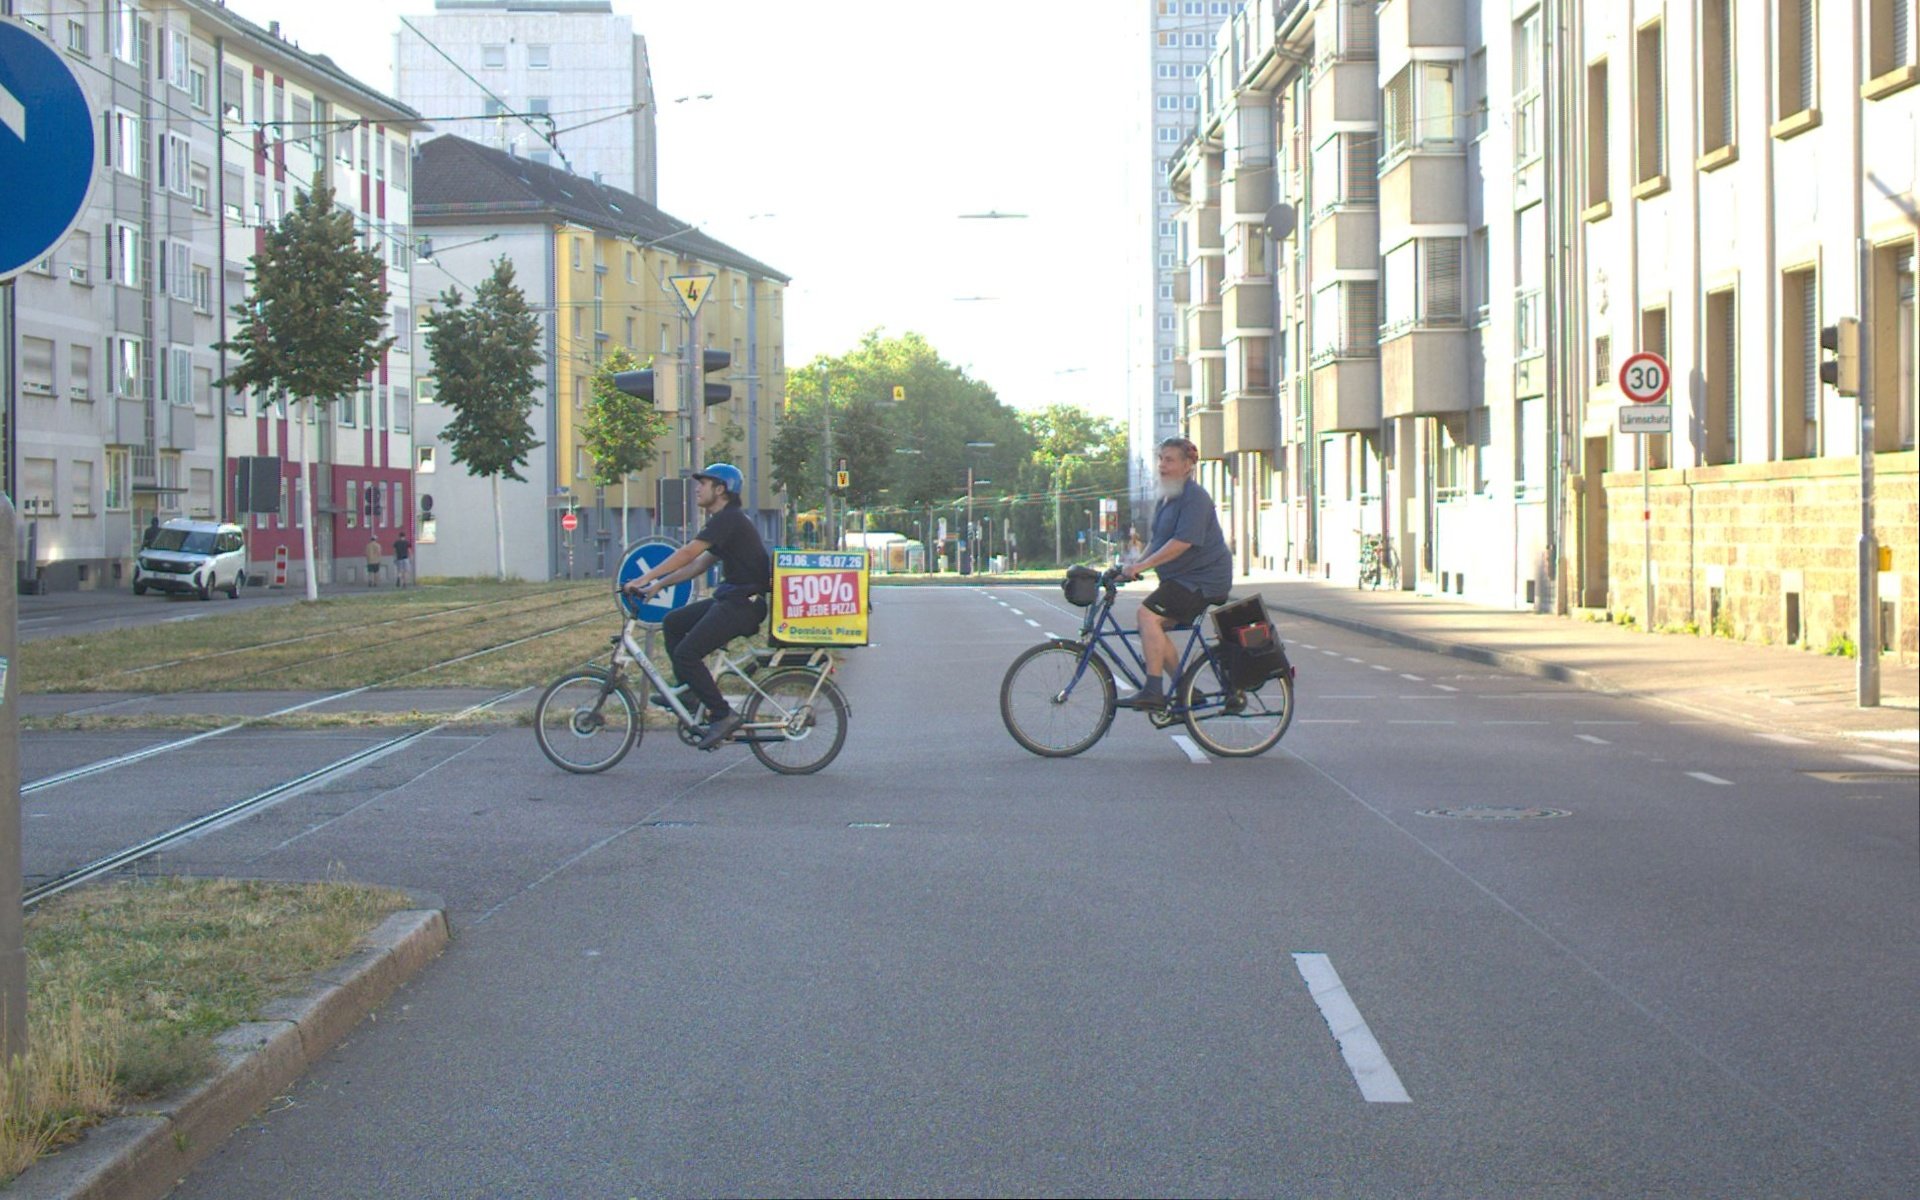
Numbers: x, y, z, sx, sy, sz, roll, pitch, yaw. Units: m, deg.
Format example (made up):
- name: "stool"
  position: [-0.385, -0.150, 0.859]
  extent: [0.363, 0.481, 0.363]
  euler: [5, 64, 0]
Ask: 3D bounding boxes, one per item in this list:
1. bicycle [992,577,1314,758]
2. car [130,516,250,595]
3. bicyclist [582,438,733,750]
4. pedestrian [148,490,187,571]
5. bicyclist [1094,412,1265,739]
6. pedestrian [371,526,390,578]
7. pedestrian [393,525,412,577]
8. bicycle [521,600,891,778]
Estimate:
- name: "bicycle"
  position: [1.190, 0.415, 21.438]
  extent: [1.943, 1.090, 0.575]
  euler: [0, 1, -3]
- name: "car"
  position: [-18.228, -1.045, 81.575]
  extent: [1.812, 1.791, 4.245]
  euler: [1, 1, 1]
- name: "bicyclist"
  position: [-1.736, -0.037, 19.836]
  extent: [0.793, 1.747, 0.720]
  euler: [1, 0, -2]
- name: "pedestrian"
  position: [-19.839, -1.731, 86.058]
  extent: [0.786, 2.007, 0.891]
  euler: [0, 1, -4]
- name: "bicyclist"
  position: [1.356, -0.154, 21.338]
  extent: [0.959, 1.981, 0.672]
  euler: [-1, 1, -3]
- name: "pedestrian"
  position: [-18.353, -1.529, 108.834]
  extent: [0.495, 1.652, 0.408]
  euler: [-1, 1, 0]
- name: "pedestrian"
  position: [-17.717, -1.547, 109.241]
  extent: [0.495, 1.652, 0.408]
  euler: [-1, 1, 0]
- name: "bicycle"
  position: [-1.456, 0.507, 19.843]
  extent: [2.072, 0.955, 0.747]
  euler: [1, 1, -3]
